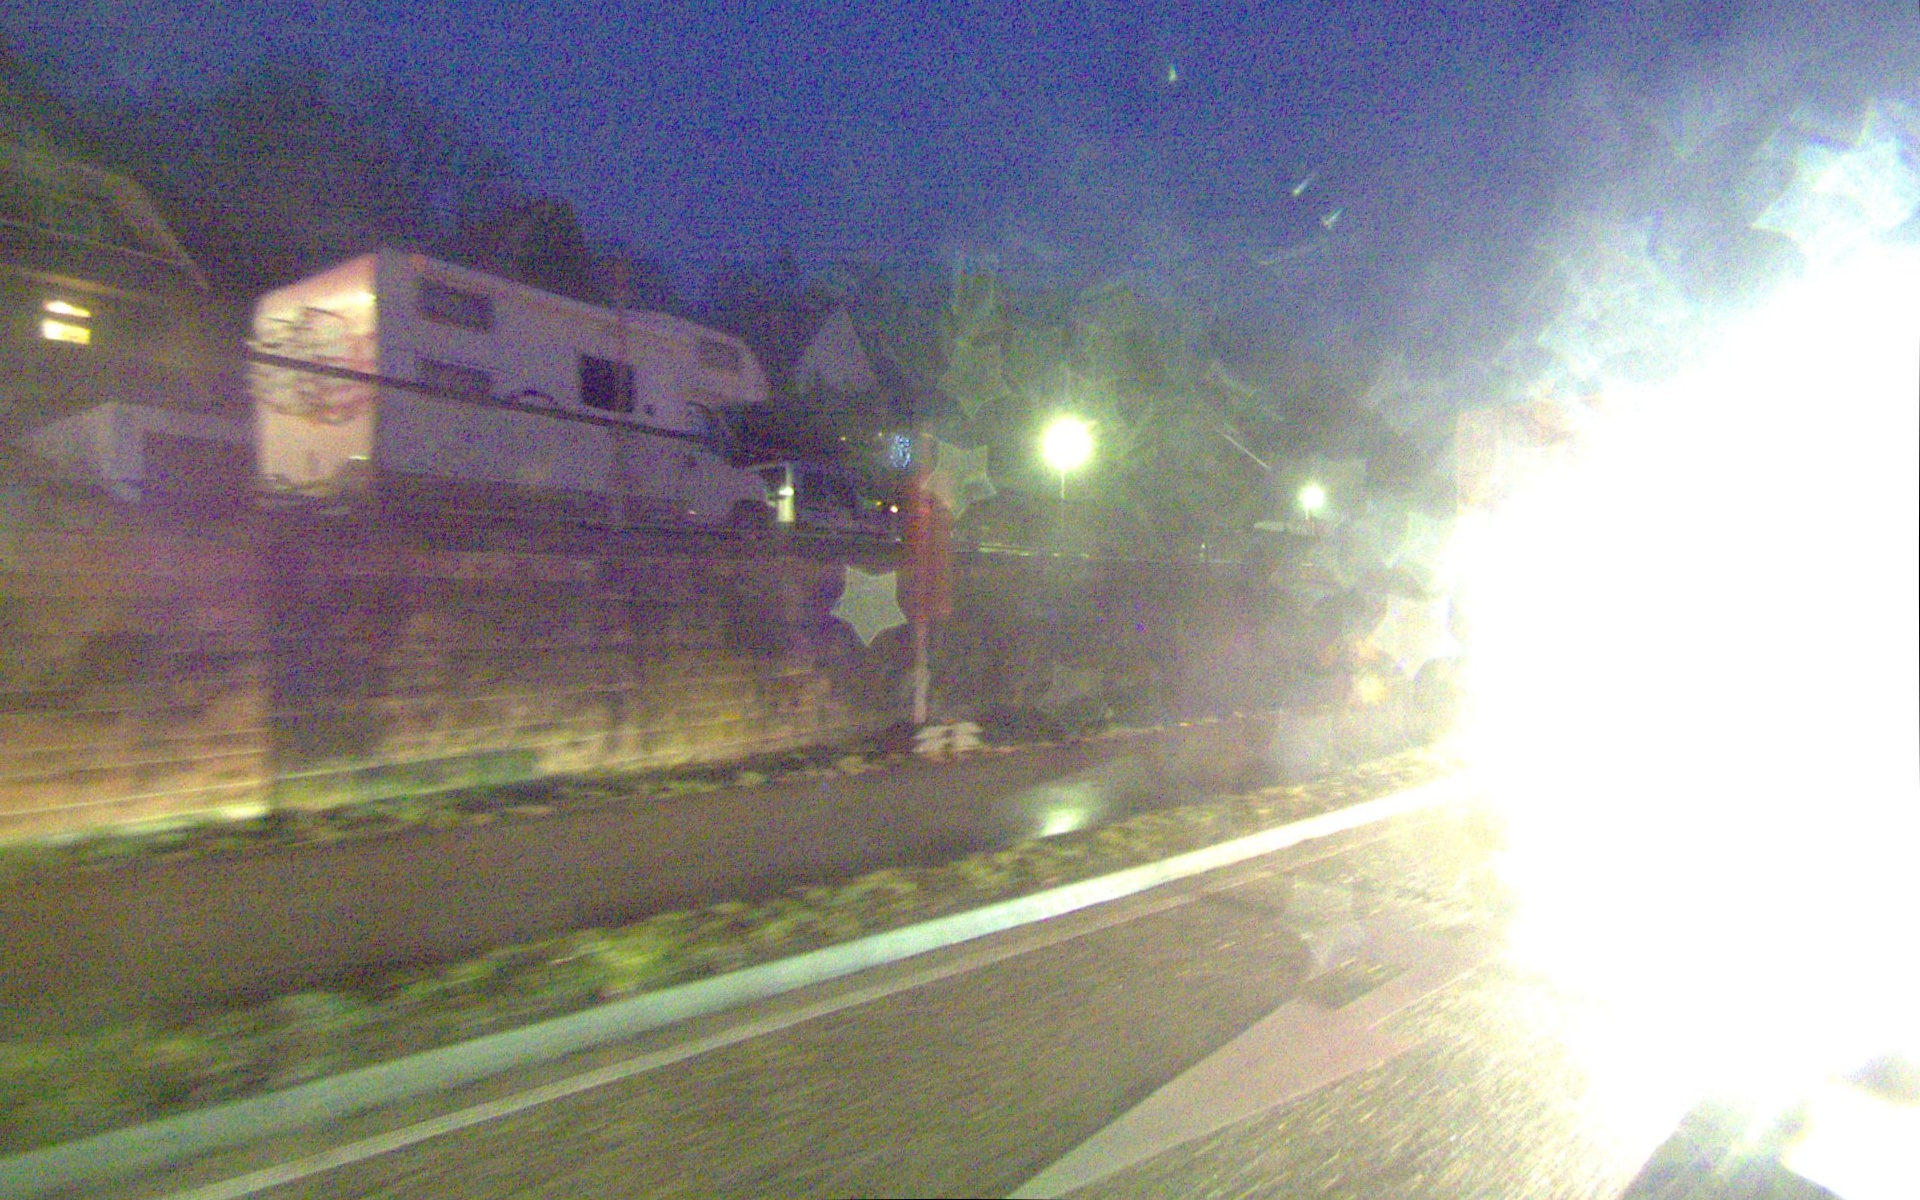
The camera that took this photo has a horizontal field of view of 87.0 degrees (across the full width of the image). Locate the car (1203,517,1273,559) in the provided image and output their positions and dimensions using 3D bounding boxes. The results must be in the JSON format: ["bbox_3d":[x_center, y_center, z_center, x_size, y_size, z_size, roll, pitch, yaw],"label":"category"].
[{"bbox_3d":[11.121,-2.423,40.347,1.606,1.491,3.954,1,1,32],"label":"car"}]

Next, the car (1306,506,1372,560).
[{"bbox_3d":[20.625,-3.586,54.949,2.107,2.668,5.384,2,1,34],"label":"car"}]

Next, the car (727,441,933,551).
[{"bbox_3d":[-2.286,-1.816,18.833,1.628,1.638,4.088,1,0,31],"label":"car"}]

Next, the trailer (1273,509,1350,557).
[{"bbox_3d":[17.544,-3.256,50.343,2.218,2.097,5.650,2,1,34],"label":"trailer"}]

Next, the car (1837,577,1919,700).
[{"bbox_3d":[16.090,0.594,16.793,4.628,1.841,1.758,1,0,-42],"label":"car"}]

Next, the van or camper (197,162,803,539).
[{"bbox_3d":[-4.878,-2.349,12.101,2.567,2.944,6.292,2,1,30],"label":"van or camper"}]

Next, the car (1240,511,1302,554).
[{"bbox_3d":[13.501,-2.891,43.868,1.606,1.660,3.954,1,1,32],"label":"car"}]
